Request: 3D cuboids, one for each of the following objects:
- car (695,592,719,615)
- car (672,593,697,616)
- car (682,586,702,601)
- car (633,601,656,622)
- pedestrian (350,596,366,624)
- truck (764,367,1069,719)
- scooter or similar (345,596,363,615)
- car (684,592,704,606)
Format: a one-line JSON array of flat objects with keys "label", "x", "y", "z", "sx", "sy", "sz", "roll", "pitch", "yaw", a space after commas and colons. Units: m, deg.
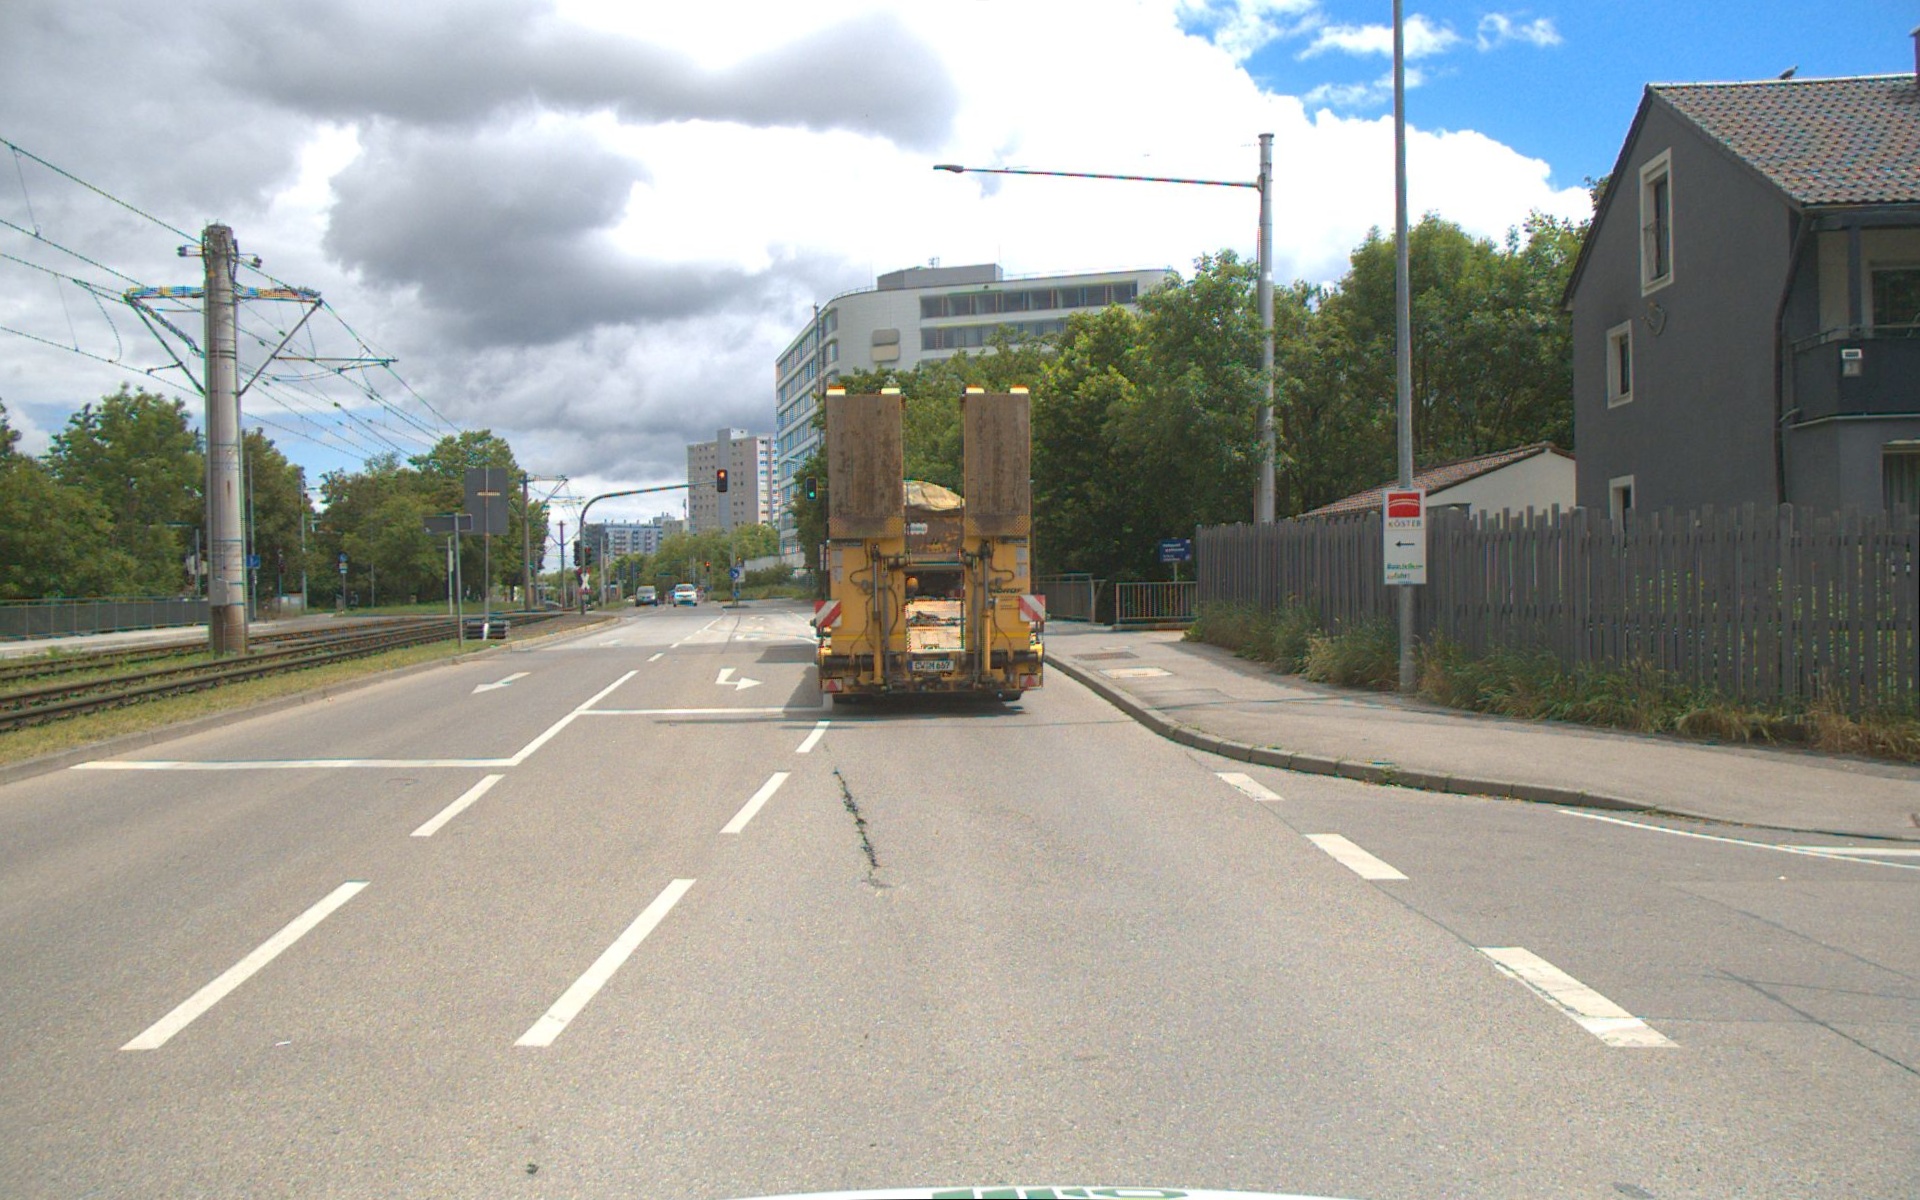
[{"label": "car", "x": -21.438, "y": 0.285, "z": 139.881, "sx": 1.957, "sy": 1.959, "sz": 3.991, "roll": 0, "pitch": 0, "yaw": -9}, {"label": "car", "x": -19.512, "y": 0.290, "z": 117.286, "sx": 1.563, "sy": 1.553, "sz": 3.648, "roll": -2, "pitch": 0, "yaw": -8}, {"label": "car", "x": -26.333, "y": -0.592, "z": 162.436, "sx": 1.957, "sy": 1.445, "sz": 3.991, "roll": 0, "pitch": 0, "yaw": -9}, {"label": "car", "x": -25.516, "y": 0.901, "z": 133.842, "sx": 1.751, "sy": 1.597, "sz": 4.334, "roll": -2, "pitch": 0, "yaw": -10}, {"label": "pedestrian", "x": -39.500, "y": 0.644, "z": 108.527, "sx": 0.786, "sy": 1.843, "sz": 0.808, "roll": 0, "pitch": 0, "yaw": -6}, {"label": "truck", "x": -0.899, "y": -0.589, "z": 23.841, "sx": 3.251, "sy": 3.715, "sz": 12.550, "roll": 0, "pitch": 0, "yaw": -4}, {"label": "scooter or similar", "x": -39.413, "y": 0.375, "z": 107.592, "sx": 0.873, "sy": 1.205, "sz": 0.971, "roll": 0, "pitch": 0, "yaw": -7}, {"label": "car", "x": -27.714, "y": -0.061, "z": 172.317, "sx": 1.957, "sy": 1.445, "sz": 3.991, "roll": 0, "pitch": 0, "yaw": -9}]
